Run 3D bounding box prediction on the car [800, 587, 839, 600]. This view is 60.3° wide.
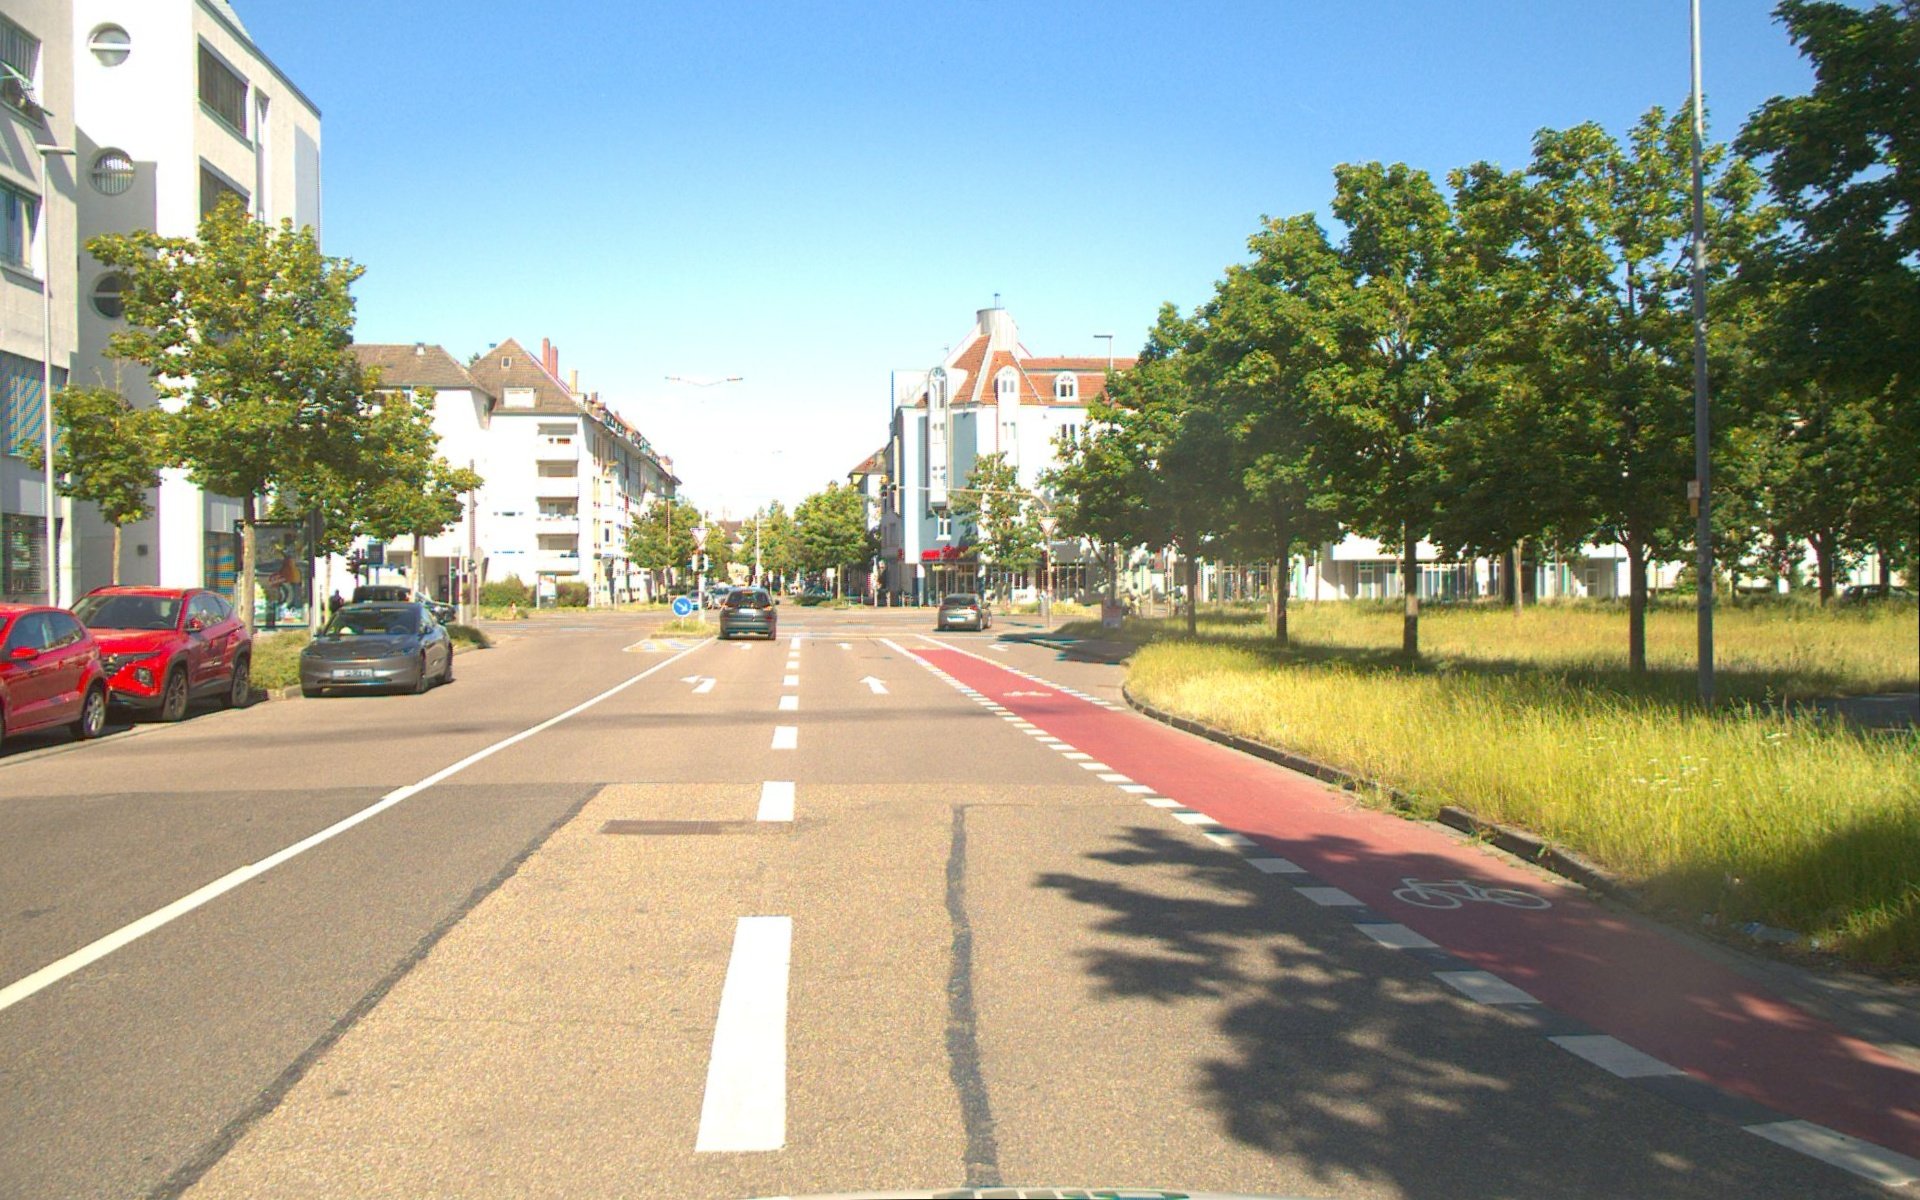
[{"bbox_3d":[-13.472,-0.617,158.515,3.505,1.245,1.725,0,-1,-13],"label":"car"}]

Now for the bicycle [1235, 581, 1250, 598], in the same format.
[{"bbox_3d":[19.872,-0.738,116.415,0.549,1.203,1.868,-1,1,-5],"label":"bicycle"}]

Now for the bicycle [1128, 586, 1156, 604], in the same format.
[{"bbox_3d":[12.583,-0.357,114.538,1.830,1.203,0.561,-1,0,-11],"label":"bicycle"}]

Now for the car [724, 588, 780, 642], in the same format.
[{"bbox_3d":[-6.839,0.461,54.281,1.721,1.656,4.470,2,0,-8],"label":"car"}]

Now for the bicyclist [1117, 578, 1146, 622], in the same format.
[{"bbox_3d":[7.366,0.004,71.044,0.776,1.856,1.133,-1,0,31],"label":"bicyclist"}]

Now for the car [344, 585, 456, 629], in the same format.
[{"bbox_3d":[-24.781,0.309,73.360,4.400,1.832,1.761,2,0,-10],"label":"car"}]

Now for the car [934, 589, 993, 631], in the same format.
[{"bbox_3d":[0.165,0.413,66.876,1.652,1.605,3.875,2,0,11],"label":"car"}]

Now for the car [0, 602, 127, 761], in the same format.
[{"bbox_3d":[-10.025,0.778,16.579,1.655,1.457,3.867,2,0,-6],"label":"car"}]

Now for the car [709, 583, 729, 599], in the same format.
[{"bbox_3d":[-24.306,-0.902,166.908,1.719,1.583,3.727,2,0,-5],"label":"car"}]

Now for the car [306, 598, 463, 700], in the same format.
[{"bbox_3d":[-9.543,0.752,27.769,1.657,1.494,4.538,-1,1,-9],"label":"car"}]

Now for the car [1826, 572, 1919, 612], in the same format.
[{"bbox_3d":[40.934,-0.358,73.726,3.877,1.628,1.673,-2,0,-8],"label":"car"}]

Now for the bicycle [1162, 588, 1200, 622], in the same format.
[{"bbox_3d":[9.523,0.210,71.193,0.776,1.371,2.257,-1,1,31],"label":"bicycle"}]

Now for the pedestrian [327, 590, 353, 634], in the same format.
[{"bbox_3d":[-25.309,0.495,67.526,0.796,1.756,1.151,-1,0,-11],"label":"pedestrian"}]

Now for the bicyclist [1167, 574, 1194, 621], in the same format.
[{"bbox_3d":[9.489,-0.100,71.137,0.776,1.993,1.009,-1,0,32],"label":"bicyclist"}]

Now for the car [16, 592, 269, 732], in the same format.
[{"bbox_3d":[-10.613,0.733,21.822,1.656,1.635,4.303,2,0,-8],"label":"car"}]

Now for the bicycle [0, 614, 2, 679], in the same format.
[{"bbox_3d":[-17.014,0.814,27.539,1.751,1.087,0.621,-2,0,1],"label":"bicycle"}]

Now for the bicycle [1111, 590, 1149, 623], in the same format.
[{"bbox_3d":[7.290,0.257,70.919,0.776,1.371,2.074,-1,1,31],"label":"bicycle"}]
